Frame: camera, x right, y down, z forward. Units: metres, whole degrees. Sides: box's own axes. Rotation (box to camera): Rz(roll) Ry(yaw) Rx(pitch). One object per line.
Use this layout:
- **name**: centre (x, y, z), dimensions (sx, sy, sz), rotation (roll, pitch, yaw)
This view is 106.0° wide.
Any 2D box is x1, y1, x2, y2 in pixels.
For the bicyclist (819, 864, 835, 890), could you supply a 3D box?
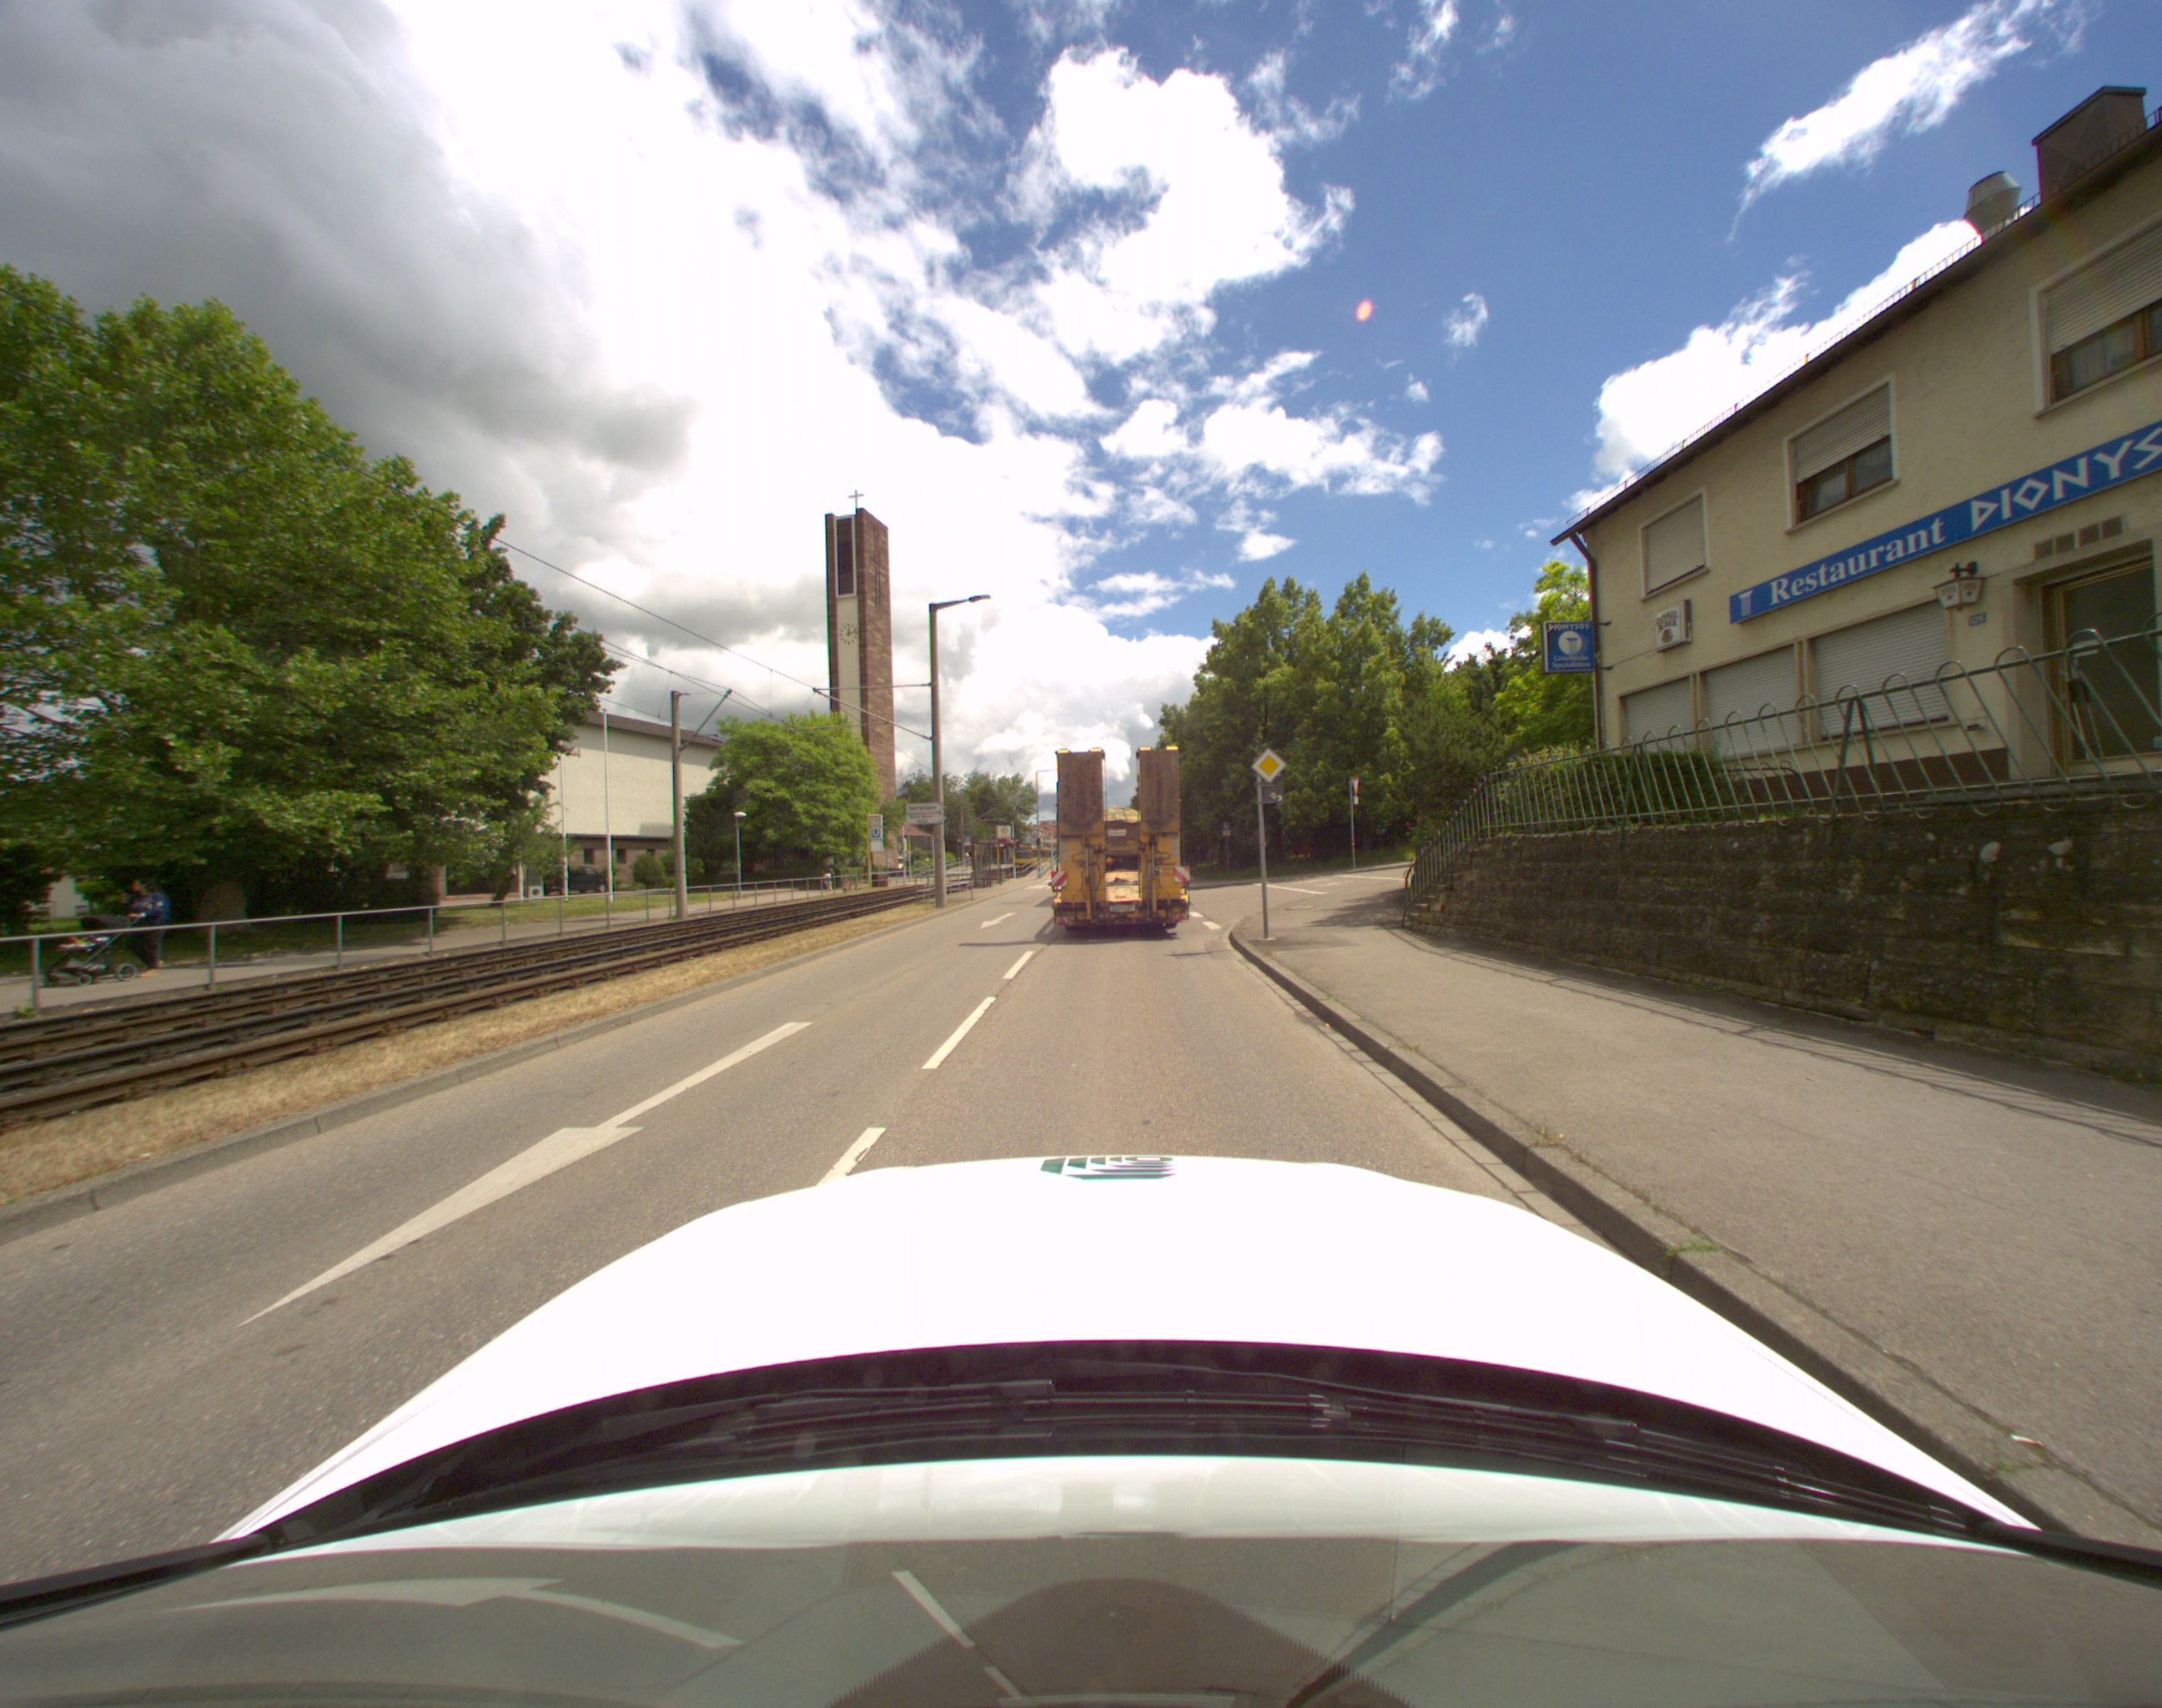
- **bicyclist**: centre (-14.086, 1.245, 45.137), dimensions (0.631, 1.429, 0.790), rotation (0, -1, 1)

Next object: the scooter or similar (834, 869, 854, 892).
- **scooter or similar**: centre (-13.476, 1.514, 46.334), dimensions (0.647, 1.237, 1.402), rotation (-1, 0, 2)

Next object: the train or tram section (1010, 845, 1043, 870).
- **train or tram section**: centre (-8.026, 0.587, 122.574), dimensions (3.096, 3.465, 18.832), rotation (0, -1, 2)

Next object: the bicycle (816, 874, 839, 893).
- **bicycle**: centre (-14.083, 1.625, 45.345), dimensions (0.635, 0.994, 1.929), rotation (0, -1, 2)

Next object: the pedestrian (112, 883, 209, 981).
- **pedestrian**: centre (-15.193, 1.262, 13.464), dimensions (0.611, 1.540, 0.874), rotation (-1, -1, 0)

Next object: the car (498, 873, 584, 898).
- **car**: centre (-36.150, 2.061, 54.634), dimensions (1.977, 1.574, 4.499), rotation (-1, -1, 20)

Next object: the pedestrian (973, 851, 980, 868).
- **pedestrian**: centre (-12.002, 0.634, 93.292), dimensions (0.710, 2.014, 0.731), rotation (0, -1, 0)

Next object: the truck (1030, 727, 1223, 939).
- **truck**: centre (0.774, -0.317, 21.617), dimensions (3.392, 3.732, 13.733), rotation (-2, -1, -1)

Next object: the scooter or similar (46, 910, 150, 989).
- **scooter or similar**: centre (-15.193, 1.458, 12.602), dimensions (0.602, 1.115, 0.821), rotation (-1, -1, 0)

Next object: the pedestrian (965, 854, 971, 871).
- **pedestrian**: centre (-12.331, 0.929, 88.670), dimensions (0.582, 1.778, 0.576), rotation (0, -1, 2)

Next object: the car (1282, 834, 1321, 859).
- **car**: centre (14.962, -0.462, 55.414), dimensions (1.655, 1.500, 3.664), rotation (-5, -1, 2)
